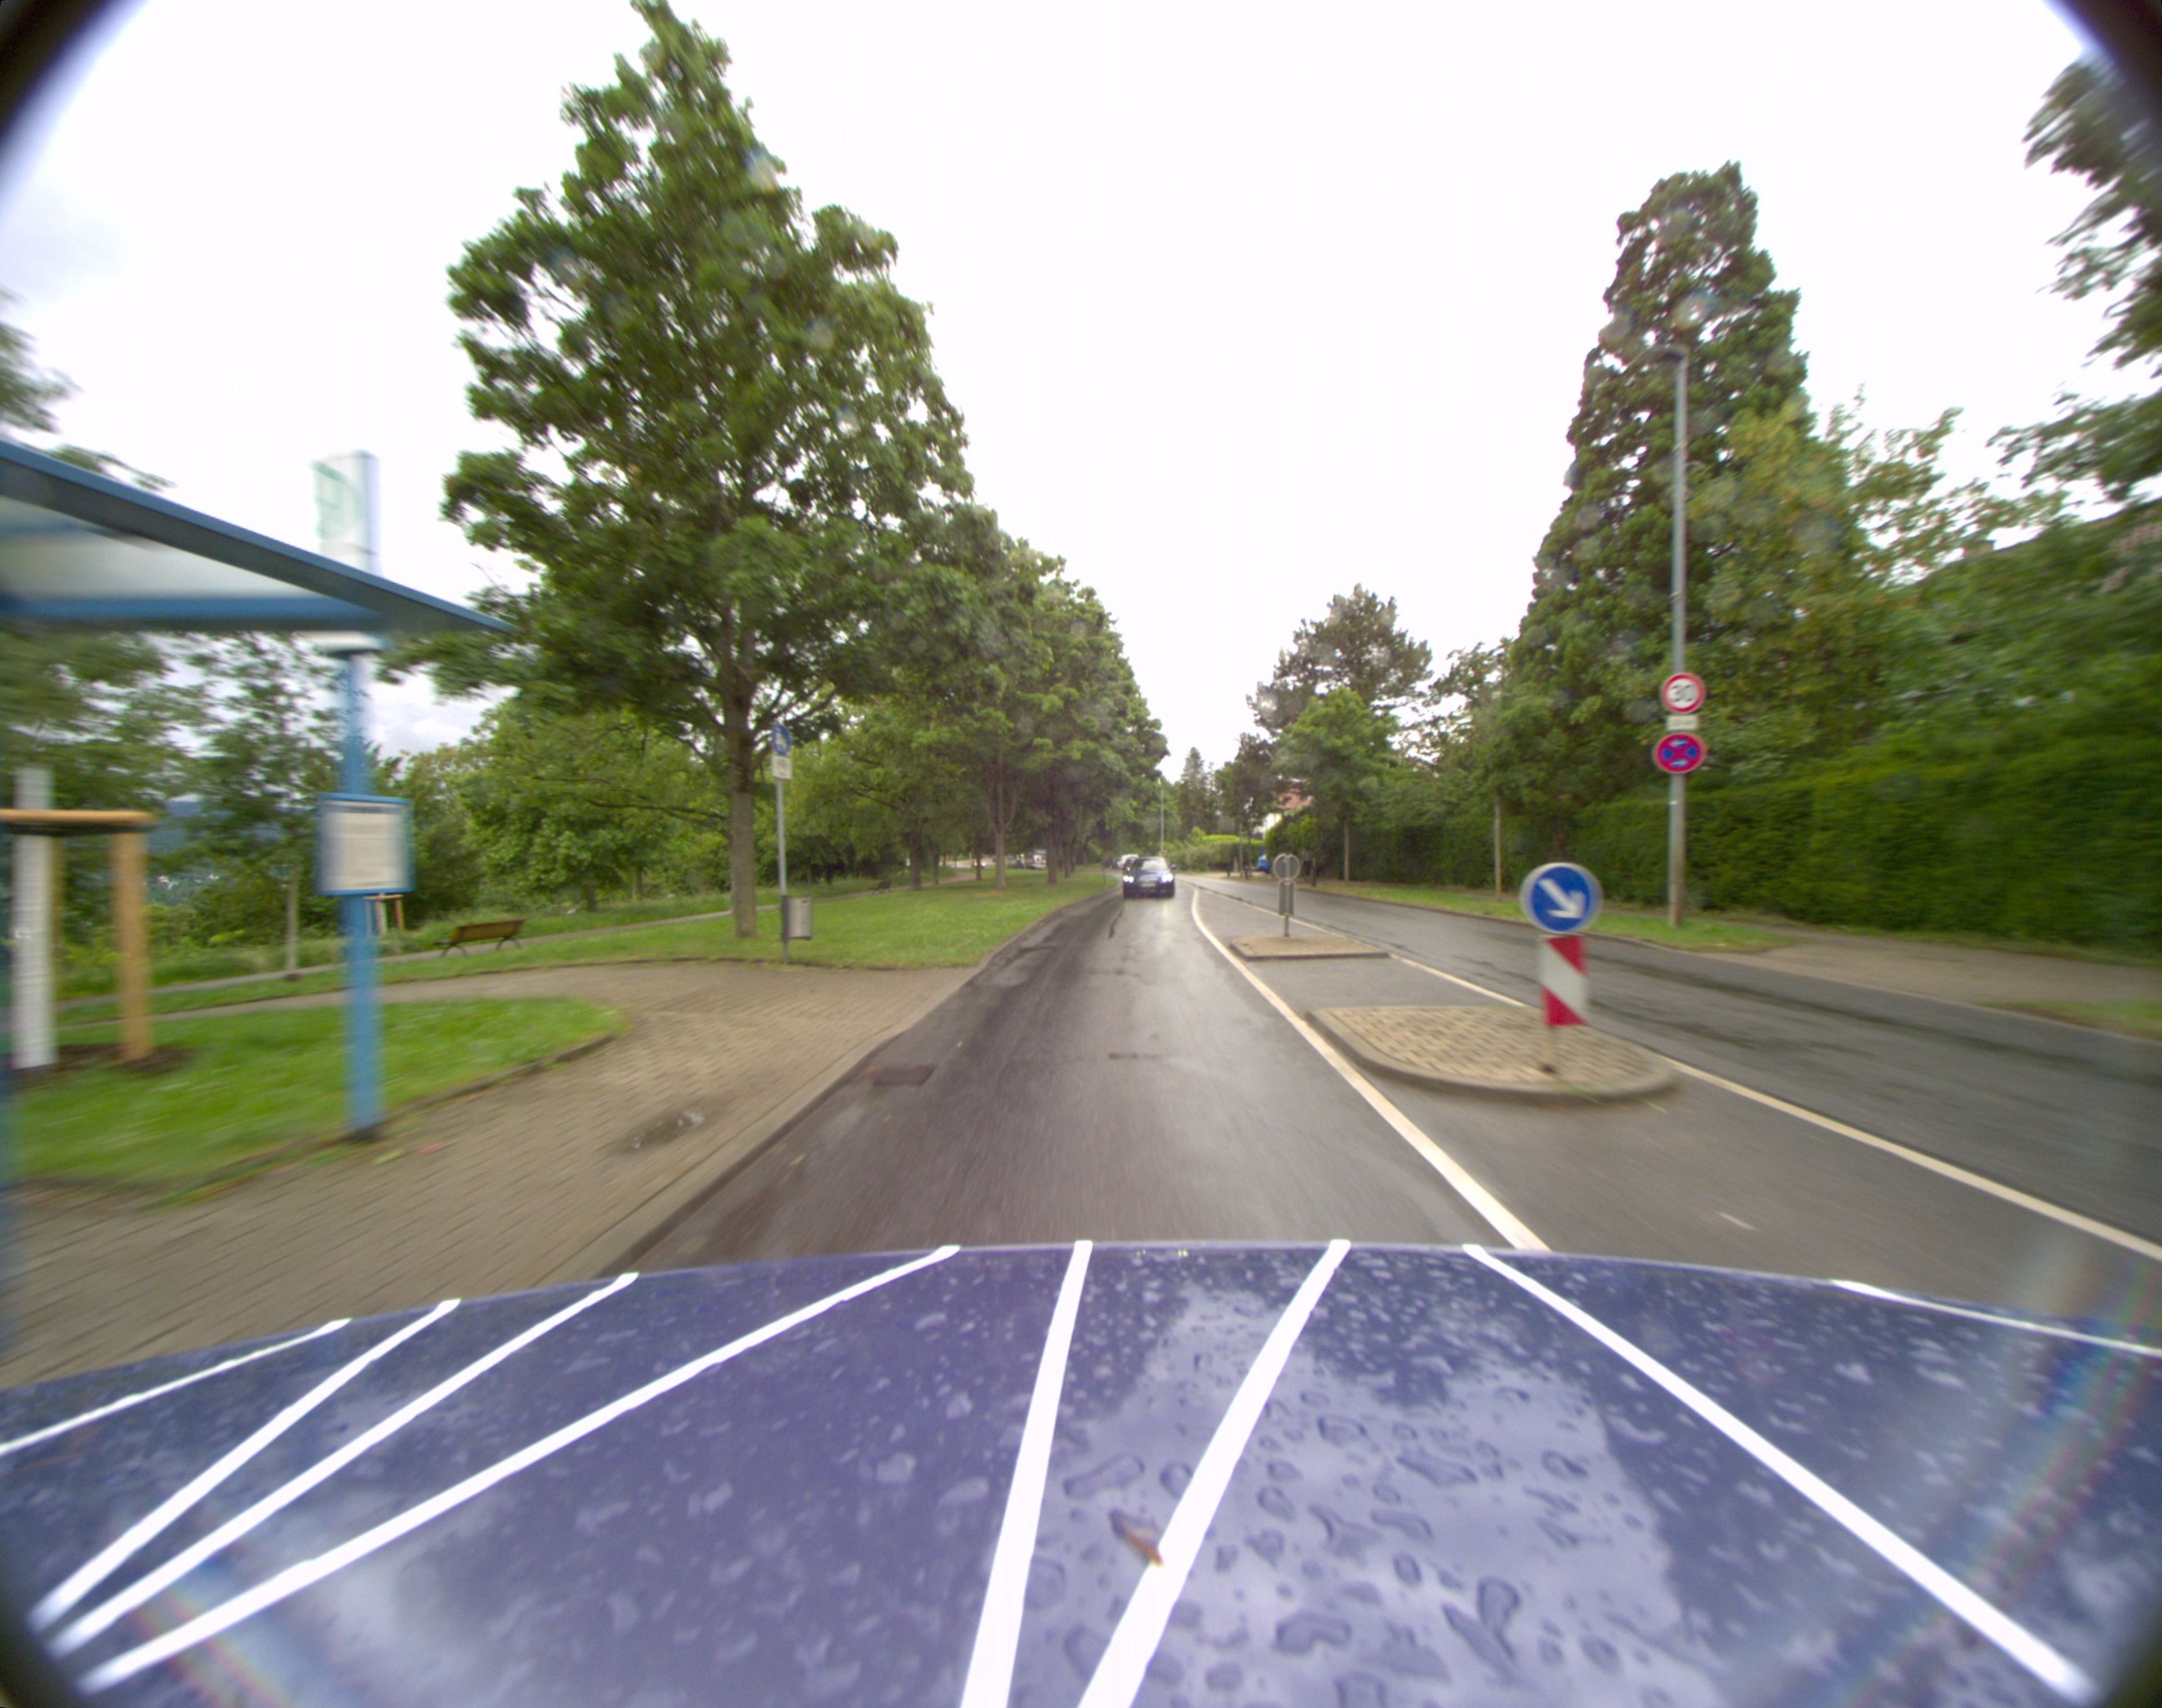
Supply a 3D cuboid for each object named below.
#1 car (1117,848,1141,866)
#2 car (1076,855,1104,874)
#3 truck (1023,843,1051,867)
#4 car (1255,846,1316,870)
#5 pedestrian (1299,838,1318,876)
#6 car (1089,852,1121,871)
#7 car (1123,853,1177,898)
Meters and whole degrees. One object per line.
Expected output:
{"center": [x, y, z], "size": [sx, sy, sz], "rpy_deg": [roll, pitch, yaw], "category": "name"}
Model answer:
{"center": [5.892, 0.370, 93.265], "size": [2.000, 2.077, 3.996], "rpy_deg": [-2, 1, -11], "category": "car"}
{"center": [0.832, 0.970, 72.436], "size": [2.000, 1.606, 3.996], "rpy_deg": [-2, 0, -9], "category": "car"}
{"center": [-5.719, 0.163, 98.346], "size": [2.149, 3.028, 5.159], "rpy_deg": [-2, 1, -20], "category": "truck"}
{"center": [14.761, 0.248, 54.863], "size": [3.861, 1.577, 1.817], "rpy_deg": [-2, 1, -1], "category": "car"}
{"center": [10.980, 0.142, 36.678], "size": [0.712, 1.820, 0.881], "rpy_deg": [-3, 1, 7], "category": "pedestrian"}
{"center": [2.046, 0.612, 66.997], "size": [1.967, 1.529, 4.050], "rpy_deg": [-2, 0, -10], "category": "car"}
{"center": [2.624, 0.750, 28.728], "size": [1.838, 1.502, 4.001], "rpy_deg": [-1, 1, 6], "category": "car"}
